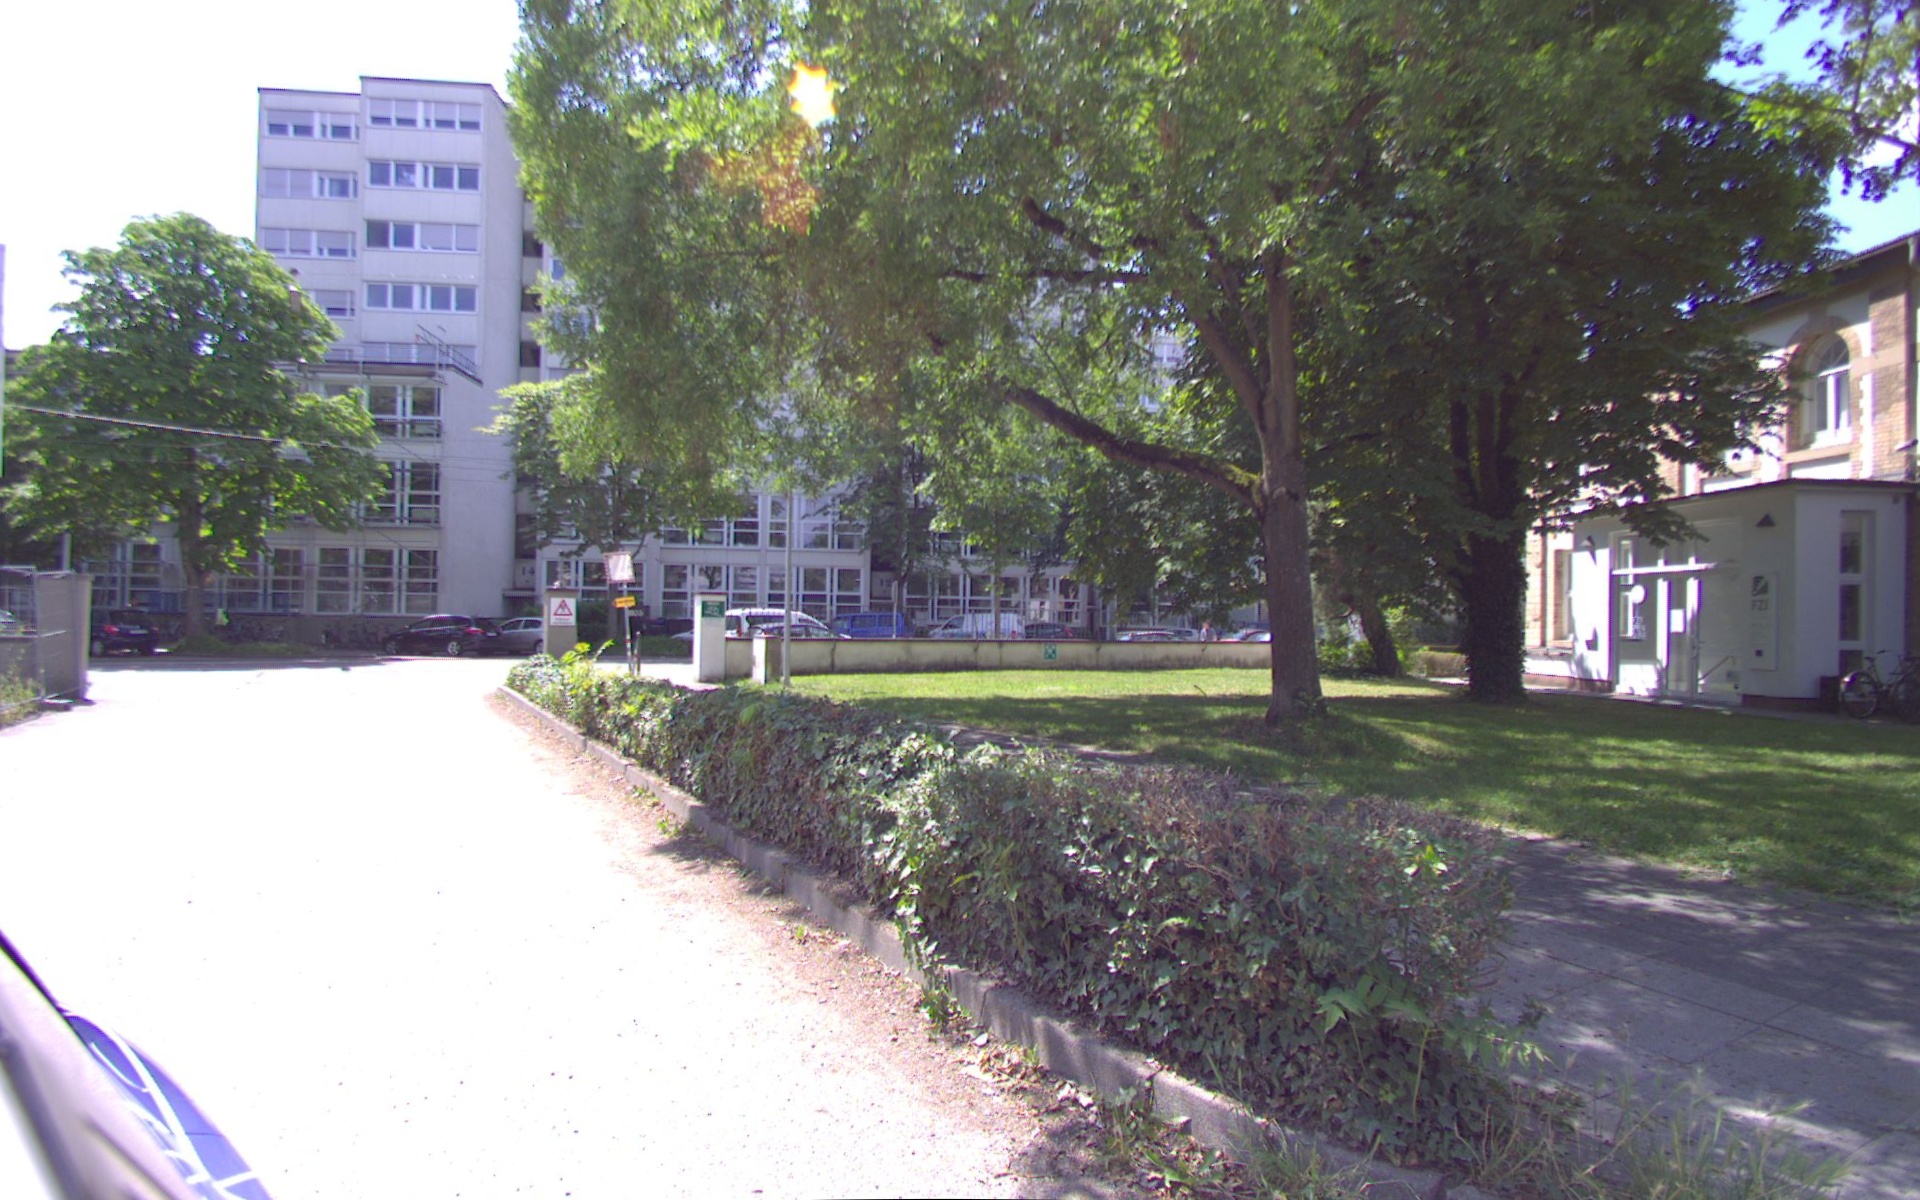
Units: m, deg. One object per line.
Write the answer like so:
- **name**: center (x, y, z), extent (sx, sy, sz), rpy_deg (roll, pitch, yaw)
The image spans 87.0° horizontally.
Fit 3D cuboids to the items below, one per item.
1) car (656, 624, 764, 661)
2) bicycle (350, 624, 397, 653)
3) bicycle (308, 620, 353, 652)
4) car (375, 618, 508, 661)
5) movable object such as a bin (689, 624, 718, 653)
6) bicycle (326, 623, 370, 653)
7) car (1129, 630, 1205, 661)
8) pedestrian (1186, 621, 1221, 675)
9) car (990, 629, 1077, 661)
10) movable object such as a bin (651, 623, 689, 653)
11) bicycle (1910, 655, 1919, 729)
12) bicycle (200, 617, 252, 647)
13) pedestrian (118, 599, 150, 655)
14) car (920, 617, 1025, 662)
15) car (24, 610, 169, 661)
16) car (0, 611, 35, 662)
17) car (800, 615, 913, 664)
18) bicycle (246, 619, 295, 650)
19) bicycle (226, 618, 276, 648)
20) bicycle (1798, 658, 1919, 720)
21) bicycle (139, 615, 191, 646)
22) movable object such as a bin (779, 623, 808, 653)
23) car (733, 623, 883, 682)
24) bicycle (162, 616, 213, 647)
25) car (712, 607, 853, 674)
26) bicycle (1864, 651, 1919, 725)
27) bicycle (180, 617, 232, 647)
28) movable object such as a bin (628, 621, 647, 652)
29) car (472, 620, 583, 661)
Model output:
- **car**: center (-10.267, 1.748, 41.638), extent (3.941, 1.424, 1.708), rpy_deg (0, -2, 13)
- **bicycle**: center (-23.334, 1.525, 40.322), extent (0.560, 1.139, 2.234), rpy_deg (1, -2, 0)
- **bicycle**: center (-24.946, 1.416, 40.123), extent (0.560, 1.247, 1.943), rpy_deg (1, -2, 0)
- **car**: center (-18.823, 1.430, 36.793), extent (4.155, 1.481, 1.747), rpy_deg (0, -2, 13)
- **movable object such as a bin**: center (-11.920, 1.773, 46.963), extent (1.058, 1.340, 0.974), rpy_deg (2, -3, -29)
- **bicycle**: center (-24.094, 1.497, 39.879), extent (0.560, 1.139, 1.943), rpy_deg (1, -2, 0)
- **car**: center (11.299, 2.460, 55.293), extent (3.960, 1.397, 1.744), rpy_deg (3, 1, 13)
- **pedestrian**: center (7.212, 1.419, 29.965), extent (0.731, 1.579, 0.699), rpy_deg (1, -2, -33)
- **car**: center (3.607, 2.192, 49.845), extent (3.977, 1.497, 1.656), rpy_deg (0, -2, 25)
- **movable object such as a bin**: center (-13.219, 1.731, 46.120), extent (1.427, 1.340, 1.130), rpy_deg (2, -3, -29)
- **bicycle**: center (14.369, 1.285, 13.999), extent (2.223, 1.019, 0.571), rpy_deg (1, -1, -10)
- **bicycle**: center (-28.581, 1.260, 39.433), extent (0.560, 1.139, 1.943), rpy_deg (1, -2, 0)
- **pedestrian**: center (-28.170, 0.917, 34.537), extent (0.567, 1.889, 0.718), rpy_deg (1, -2, -17)
- **car**: center (0.578, 1.879, 48.153), extent (4.599, 2.029, 1.985), rpy_deg (0, -2, 22)
- **car**: center (-26.861, 1.089, 31.529), extent (3.540, 1.528, 1.643), rpy_deg (0, -1, 13)
- **car**: center (-29.613, 1.048, 29.815), extent (3.991, 1.474, 1.808), rpy_deg (0, -2, 19)
- **car**: center (-4.586, 1.738, 44.920), extent (4.586, 2.029, 1.991), rpy_deg (0, -2, 14)
- **bicycle**: center (-26.829, 1.341, 39.403), extent (0.560, 1.139, 1.943), rpy_deg (1, -2, 0)
- **bicycle**: center (-27.608, 1.281, 39.462), extent (0.560, 1.139, 1.943), rpy_deg (1, -2, 0)
- **bicycle**: center (14.044, 1.341, 15.433), extent (2.223, 0.897, 0.657), rpy_deg (1, -2, -10)
- **bicycle**: center (-30.835, 1.181, 39.270), extent (0.560, 1.139, 1.929), rpy_deg (1, -2, -3)
- **movable object such as a bin**: center (-8.114, 1.852, 49.178), extent (1.161, 1.409, 1.041), rpy_deg (1, -2, -23)
- **car**: center (-4.051, 1.425, 27.149), extent (3.664, 1.468, 1.593), rpy_deg (2, -5, -34)
- **bicycle**: center (-30.080, 1.223, 39.417), extent (0.560, 1.139, 1.929), rpy_deg (1, -2, -3)
- **car**: center (-5.441, 1.229, 31.127), extent (3.932, 1.868, 1.523), rpy_deg (2, 1, -33)
- **bicycle**: center (14.343, 1.251, 14.650), extent (2.223, 1.019, 0.634), rpy_deg (1, -2, -11)
- **bicycle**: center (-29.318, 1.242, 39.406), extent (0.560, 1.139, 1.927), rpy_deg (1, -2, 0)
- **movable object such as a bin**: center (-14.882, 1.704, 46.705), extent (0.790, 1.416, 0.769), rpy_deg (1, -2, -17)
- **car**: center (-16.382, 1.520, 38.415), extent (3.504, 1.473, 1.747), rpy_deg (0, -2, 13)
